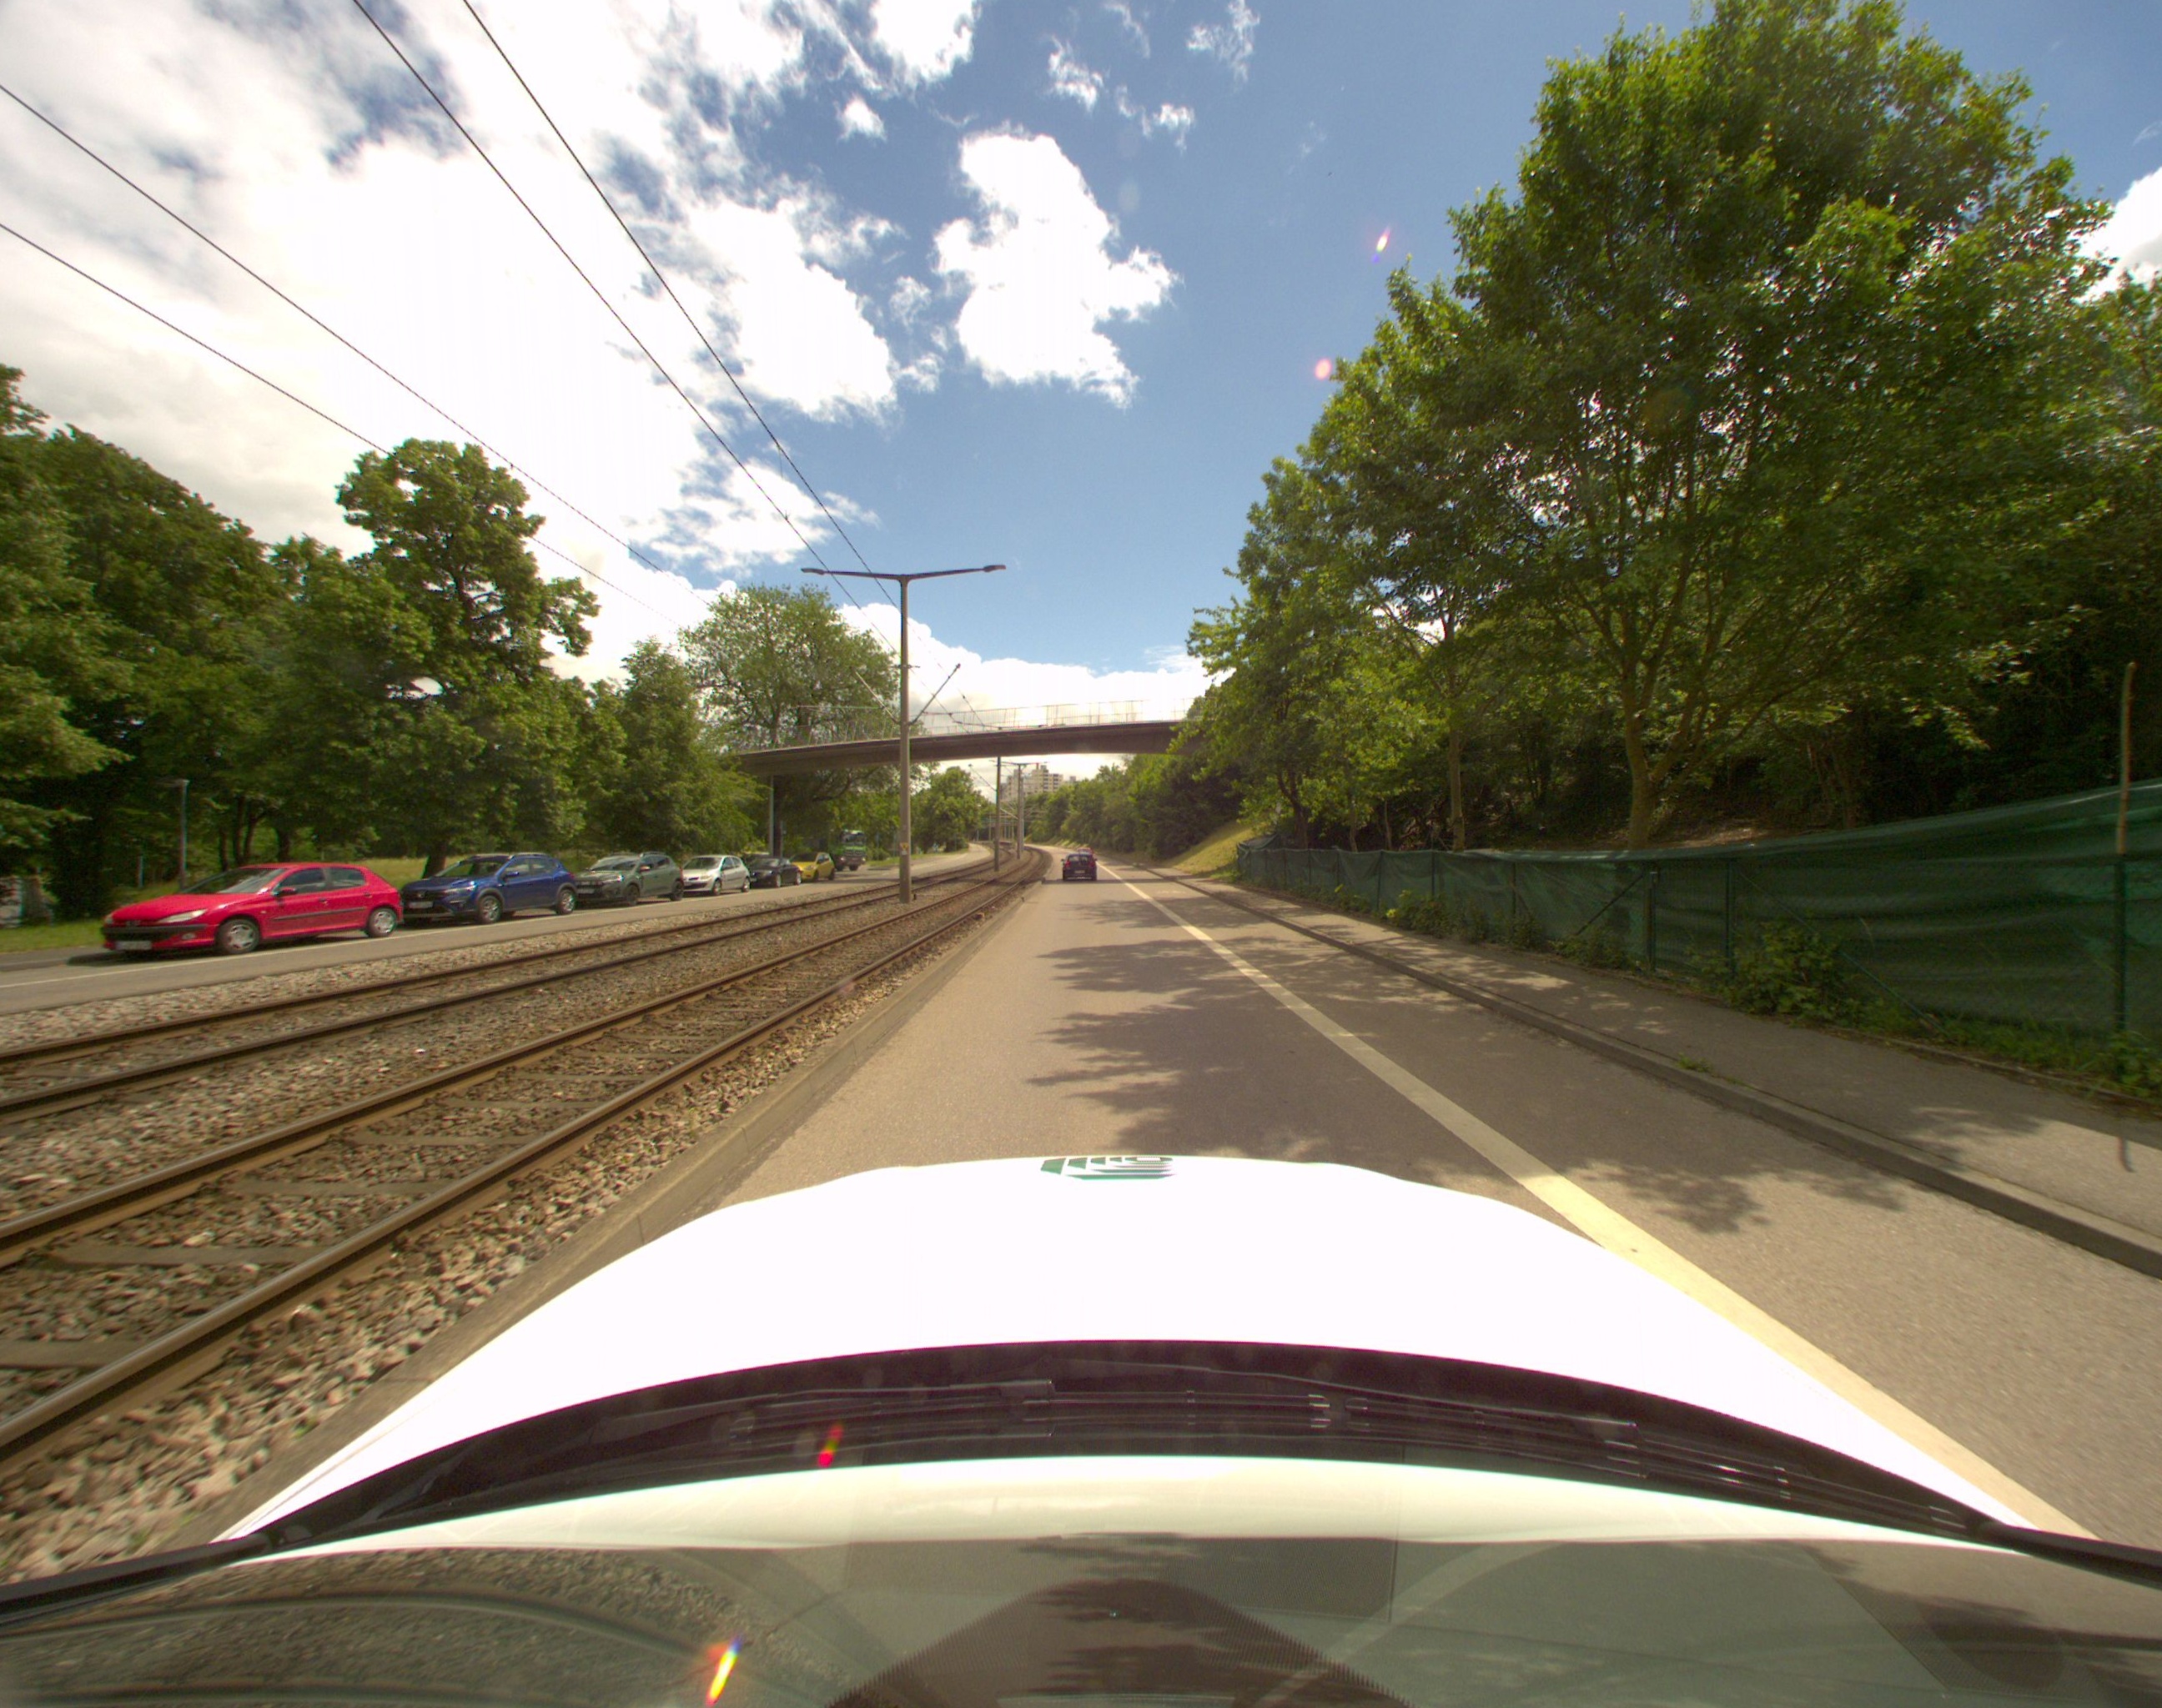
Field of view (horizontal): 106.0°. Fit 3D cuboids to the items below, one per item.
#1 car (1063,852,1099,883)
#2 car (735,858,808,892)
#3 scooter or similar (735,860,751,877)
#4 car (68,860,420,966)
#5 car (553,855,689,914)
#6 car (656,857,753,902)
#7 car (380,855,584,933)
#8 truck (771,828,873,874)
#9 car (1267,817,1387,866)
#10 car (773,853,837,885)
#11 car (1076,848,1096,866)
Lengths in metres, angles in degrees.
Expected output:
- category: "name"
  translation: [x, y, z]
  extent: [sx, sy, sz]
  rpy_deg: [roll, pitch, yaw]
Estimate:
- category: "car"
  translation: [0.037, 0.647, 41.489]
  extent: [1.702, 1.460, 3.961]
  rpy_deg: [2, 0, 1]
- category: "car"
  translation: [-13.378, 0.886, 35.428]
  extent: [1.506, 1.360, 4.129]
  rpy_deg: [0, 0, 1]
- category: "scooter or similar"
  translation: [-23.335, 0.995, 56.224]
  extent: [0.707, 1.147, 0.788]
  rpy_deg: [1, -1, 2]
- category: "car"
  translation: [-13.871, 0.904, 13.920]
  extent: [1.606, 1.494, 4.051]
  rpy_deg: [1, -1, 4]
- category: "car"
  translation: [-13.592, 0.836, 24.360]
  extent: [1.636, 1.622, 4.126]
  rpy_deg: [0, 0, 1]
- category: "car"
  translation: [-13.613, 0.893, 29.711]
  extent: [1.588, 1.494, 4.190]
  rpy_deg: [1, -1, -1]
- category: "car"
  translation: [-13.729, 0.873, 19.018]
  extent: [1.551, 1.596, 4.161]
  rpy_deg: [1, -1, 1]
- category: "truck"
  translation: [-20.502, -0.281, 64.190]
  extent: [8.914, 3.320, 2.898]
  rpy_deg: [1, -1, 37]
- category: "car"
  translation: [10.524, -0.507, 35.114]
  extent: [4.506, 1.671, 2.001]
  rpy_deg: [-4, -1, 3]
- category: "car"
  translation: [-13.586, 0.762, 40.279]
  extent: [1.683, 1.450, 3.899]
  rpy_deg: [1, -1, 1]
- category: "car"
  translation: [0.446, 0.288, 69.351]
  extent: [1.618, 1.443, 3.422]
  rpy_deg: [1, -1, 1]
